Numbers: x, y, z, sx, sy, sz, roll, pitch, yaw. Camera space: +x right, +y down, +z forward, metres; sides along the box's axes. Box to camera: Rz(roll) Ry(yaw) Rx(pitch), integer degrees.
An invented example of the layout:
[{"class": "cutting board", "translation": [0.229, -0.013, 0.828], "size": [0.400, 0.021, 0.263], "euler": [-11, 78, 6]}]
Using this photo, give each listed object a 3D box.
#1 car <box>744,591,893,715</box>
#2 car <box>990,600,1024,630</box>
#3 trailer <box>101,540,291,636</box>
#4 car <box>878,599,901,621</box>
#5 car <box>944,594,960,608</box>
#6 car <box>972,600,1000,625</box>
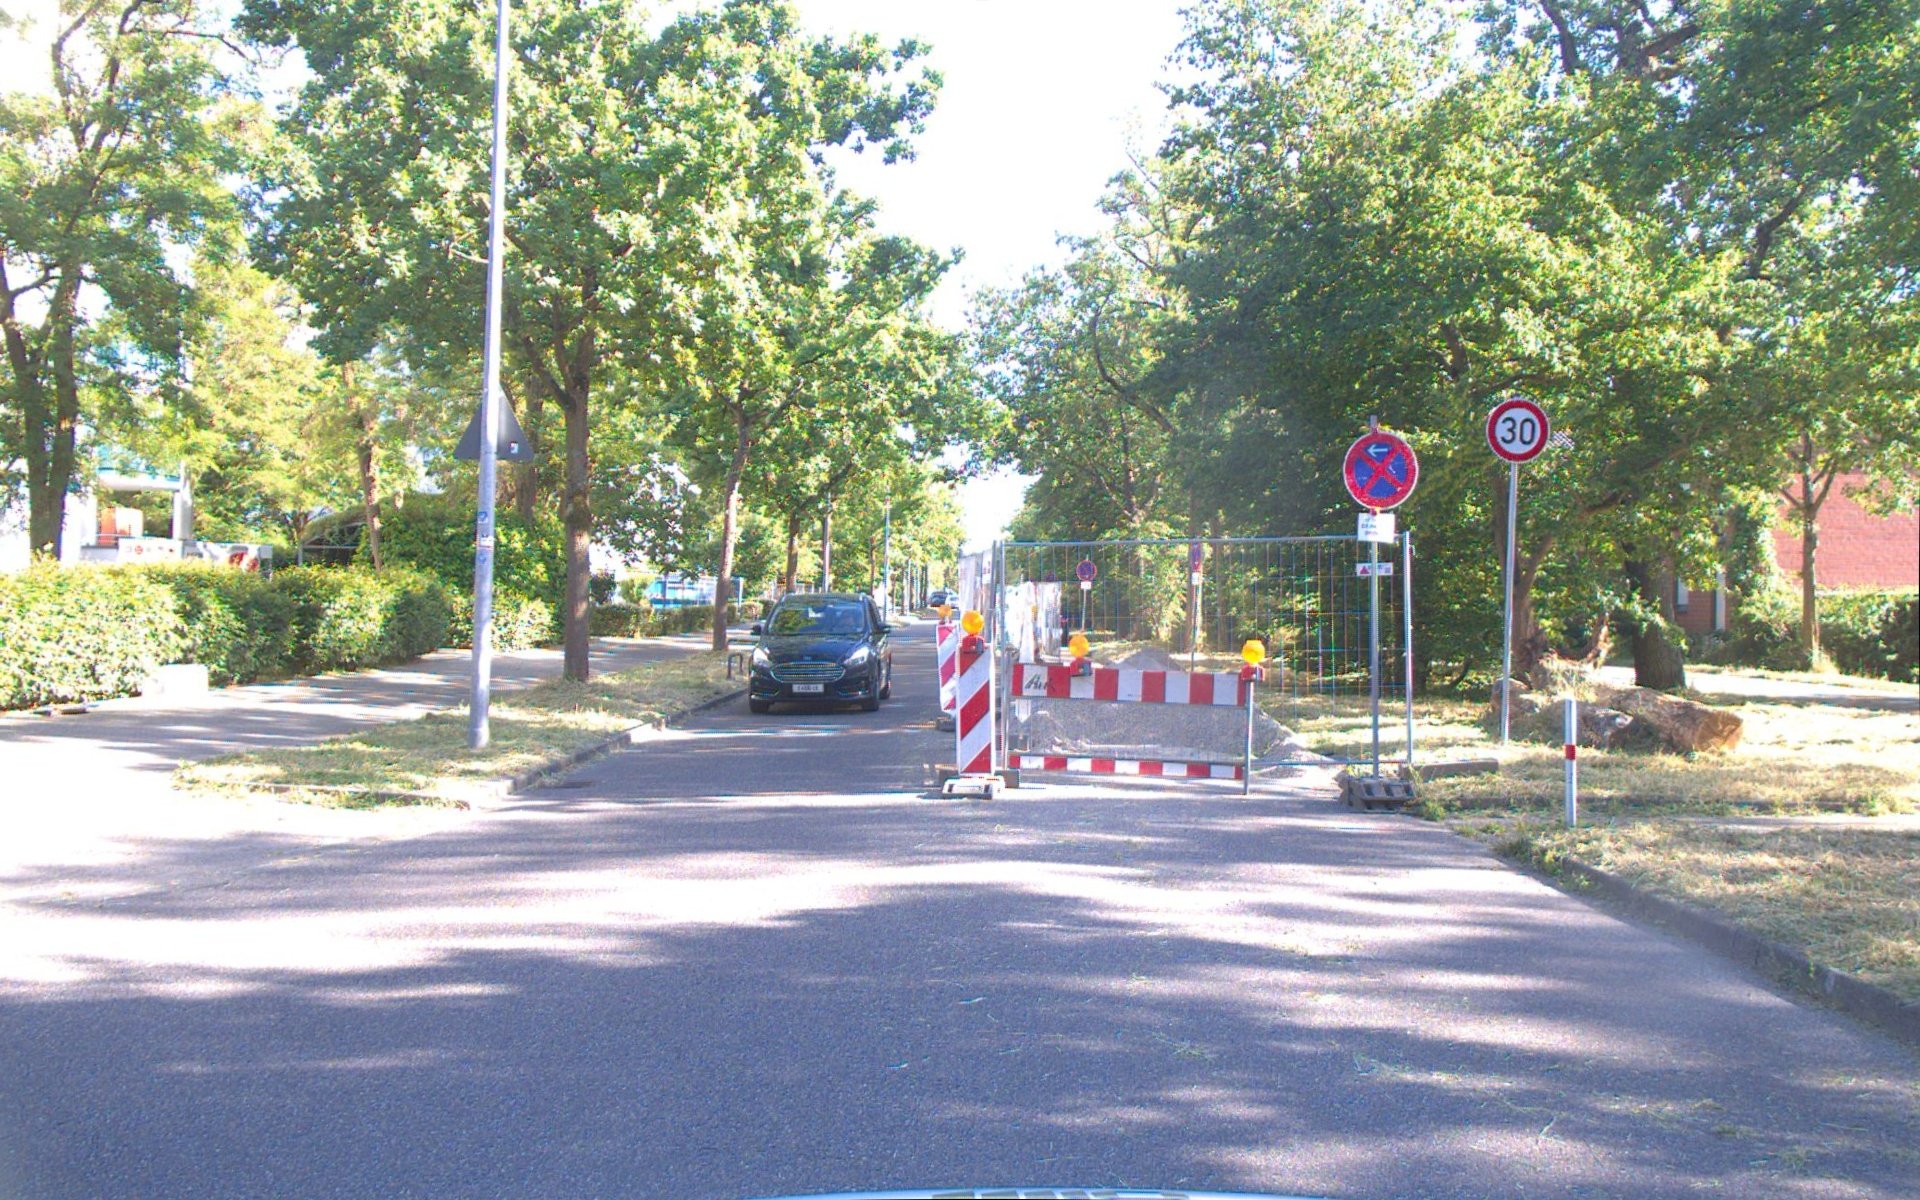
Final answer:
[{"class": "car", "translation": [-2.004, 0.716, 24.635], "size": [1.784, 1.653, 4.492], "euler": [-1, 0, 0]}, {"class": "car", "translation": [2.186, 0.689, 77.634], "size": [1.334, 1.325, 3.480], "euler": [2, -1, -2]}, {"class": "trailer", "translation": [-17.713, -0.262, 38.606], "size": [1.934, 2.078, 4.433], "euler": [1, 0, 7]}, {"class": "car", "translation": [-4.369, 0.621, 103.165], "size": [1.334, 1.325, 3.480], "euler": [2, -1, -2]}, {"class": "car", "translation": [-0.924, 0.117, 192.439], "size": [1.676, 1.613, 3.997], "euler": [2, -1, -3]}, {"class": "car", "translation": [1.416, 0.685, 90.603], "size": [1.334, 1.325, 3.480], "euler": [2, -1, -2]}]
